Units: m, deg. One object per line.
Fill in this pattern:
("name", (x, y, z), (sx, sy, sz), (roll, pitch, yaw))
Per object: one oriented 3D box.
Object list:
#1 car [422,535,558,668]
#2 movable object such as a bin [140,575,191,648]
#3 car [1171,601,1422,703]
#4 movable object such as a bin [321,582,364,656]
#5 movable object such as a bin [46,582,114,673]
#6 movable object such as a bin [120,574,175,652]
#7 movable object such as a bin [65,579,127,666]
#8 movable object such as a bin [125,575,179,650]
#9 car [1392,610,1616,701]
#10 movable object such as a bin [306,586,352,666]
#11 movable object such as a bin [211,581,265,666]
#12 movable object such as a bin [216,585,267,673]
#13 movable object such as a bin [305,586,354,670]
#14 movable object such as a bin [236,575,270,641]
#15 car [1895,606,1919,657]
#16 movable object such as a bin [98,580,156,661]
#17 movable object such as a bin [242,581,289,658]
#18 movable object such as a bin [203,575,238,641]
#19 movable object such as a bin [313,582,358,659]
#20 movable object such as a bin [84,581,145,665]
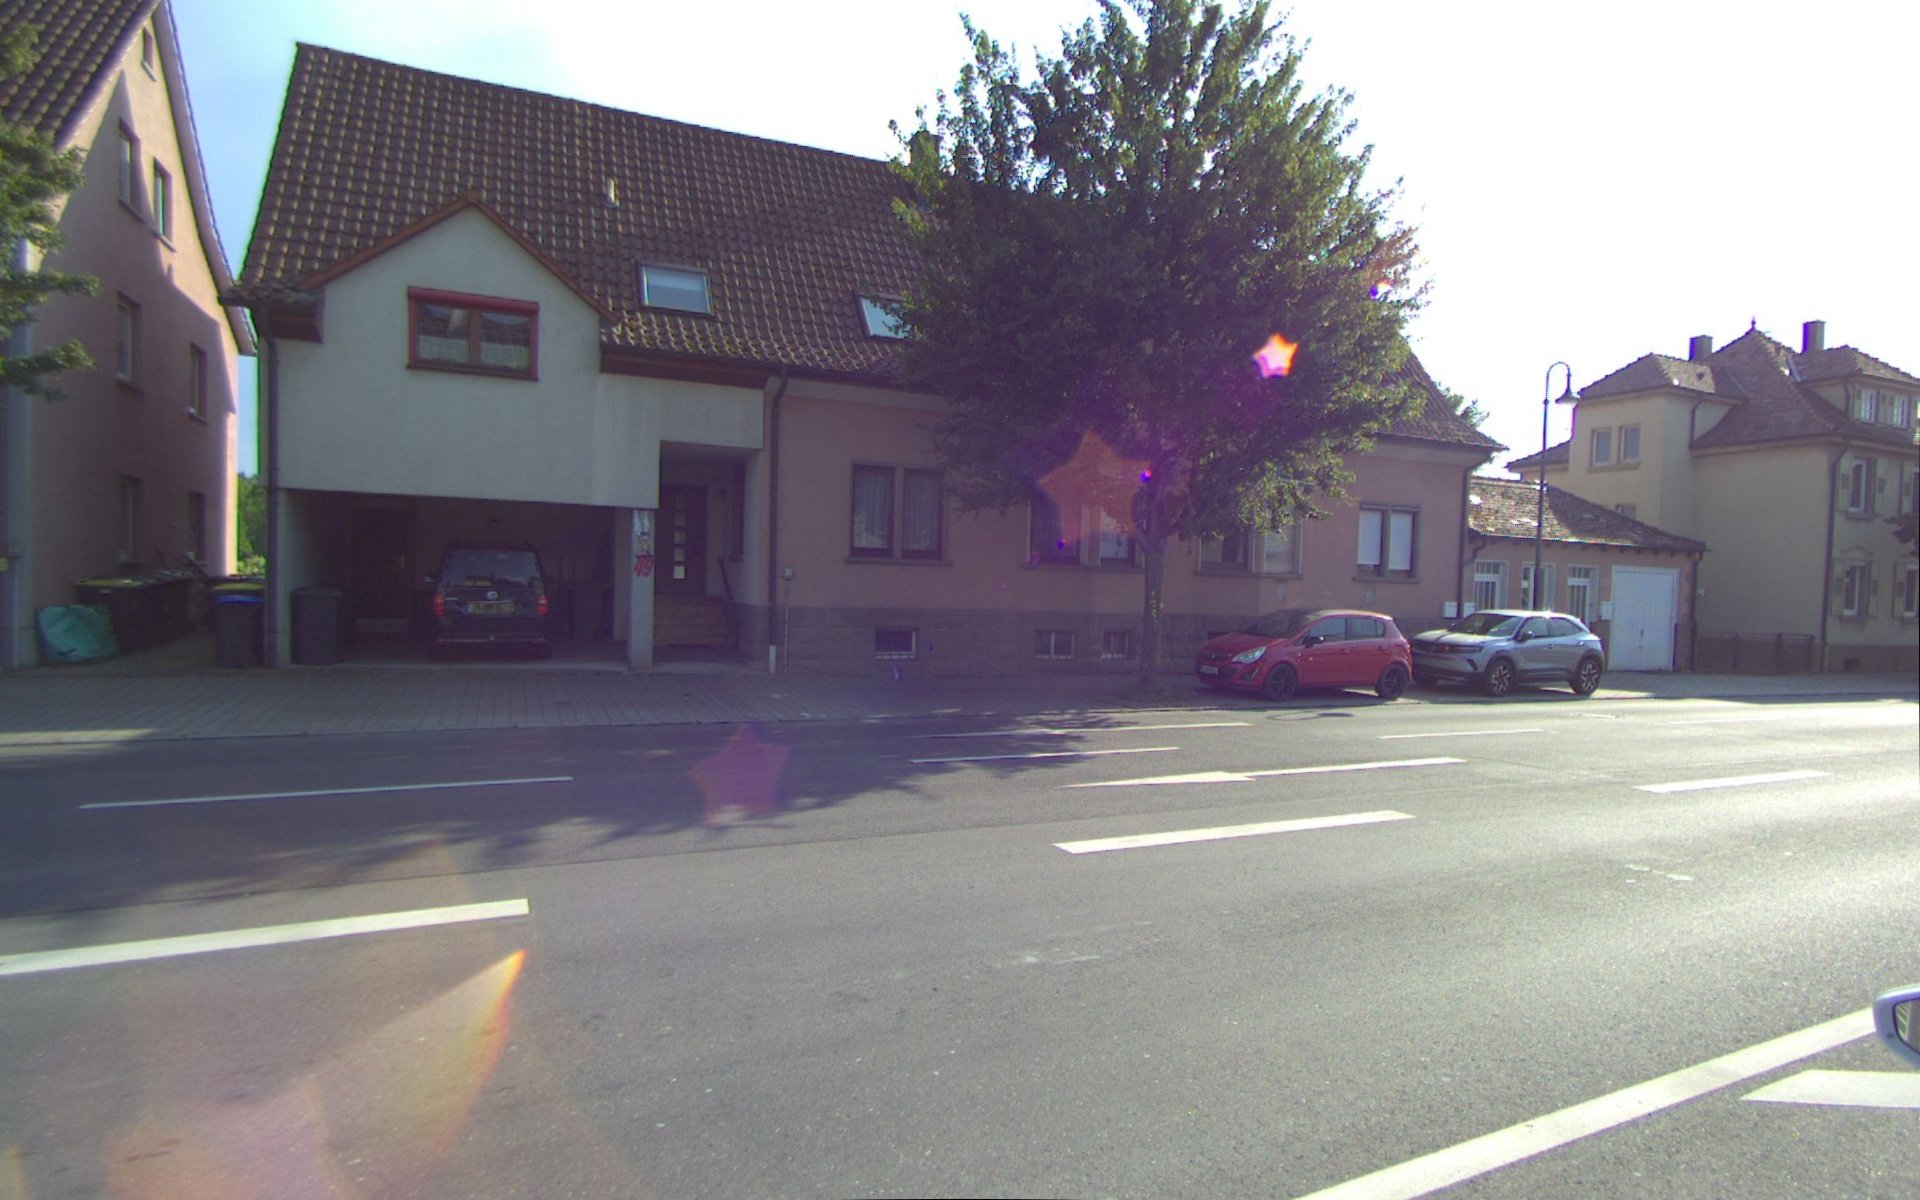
("car", (-7.670, -0.048, 16.392), (1.756, 1.906, 3.807), (1, 2, -26))
("movable object such as a bin", (-12.901, 0.181, 16.317), (0.539, 1.158, 0.502), (1, 1, -25))
("car", (5.800, 0.866, 17.315), (3.944, 1.507, 1.661), (1, 3, -24))
("movable object such as a bin", (-9.907, 0.295, 16.115), (0.570, 1.158, 0.562), (0, 1, -33))
("movable object such as a bin", (-11.508, 0.353, 13.149), (0.523, 1.158, 0.549), (1, 1, -25))
("movable object such as a bin", (-12.394, 0.195, 15.329), (0.539, 1.158, 0.502), (1, 1, -25))
("movable object such as a bin", (-11.729, 0.301, 13.649), (0.523, 1.158, 0.502), (1, 1, -25))
("movable object such as a bin", (-12.621, 0.190, 15.698), (0.539, 1.158, 0.502), (1, 1, -25))
("car", (10.559, 1.020, 19.489), (3.945, 1.499, 1.750), (1, 3, -25))
("movable object such as a bin", (-9.344, 0.378, 14.879), (0.570, 1.158, 0.562), (0, 1, -33))
("movable object such as a bin", (-10.025, 0.314, 13.967), (0.534, 1.152, 0.508), (1, 1, -28))
("movable object such as a bin", (-9.630, 0.382, 13.474), (0.494, 1.152, 0.473), (1, 1, -28))
("movable object such as a bin", (-8.896, 0.383, 14.166), (0.570, 1.158, 0.562), (0, 1, -33))
("movable object such as a bin", (-12.606, 0.147, 17.913), (0.439, 1.158, 0.399), (1, 1, -29))
("car", (39.784, 1.341, 38.795), (1.910, 2.026, 4.957), (1, 1, -27))
("movable object such as a bin", (-12.188, 0.298, 14.704), (0.539, 1.158, 0.502), (1, 1, -25))
("movable object such as a bin", (-10.719, 0.294, 15.518), (0.534, 1.152, 0.508), (1, 1, -28))
("movable object such as a bin", (-13.032, 0.141, 17.710), (0.439, 1.158, 0.399), (1, 1, -29))
("movable object such as a bin", (-9.642, 0.306, 15.501), (0.570, 1.158, 0.562), (0, 1, -33))
("movable object such as a bin", (-11.957, 0.316, 14.213), (0.539, 1.158, 0.502), (1, 1, -25))
